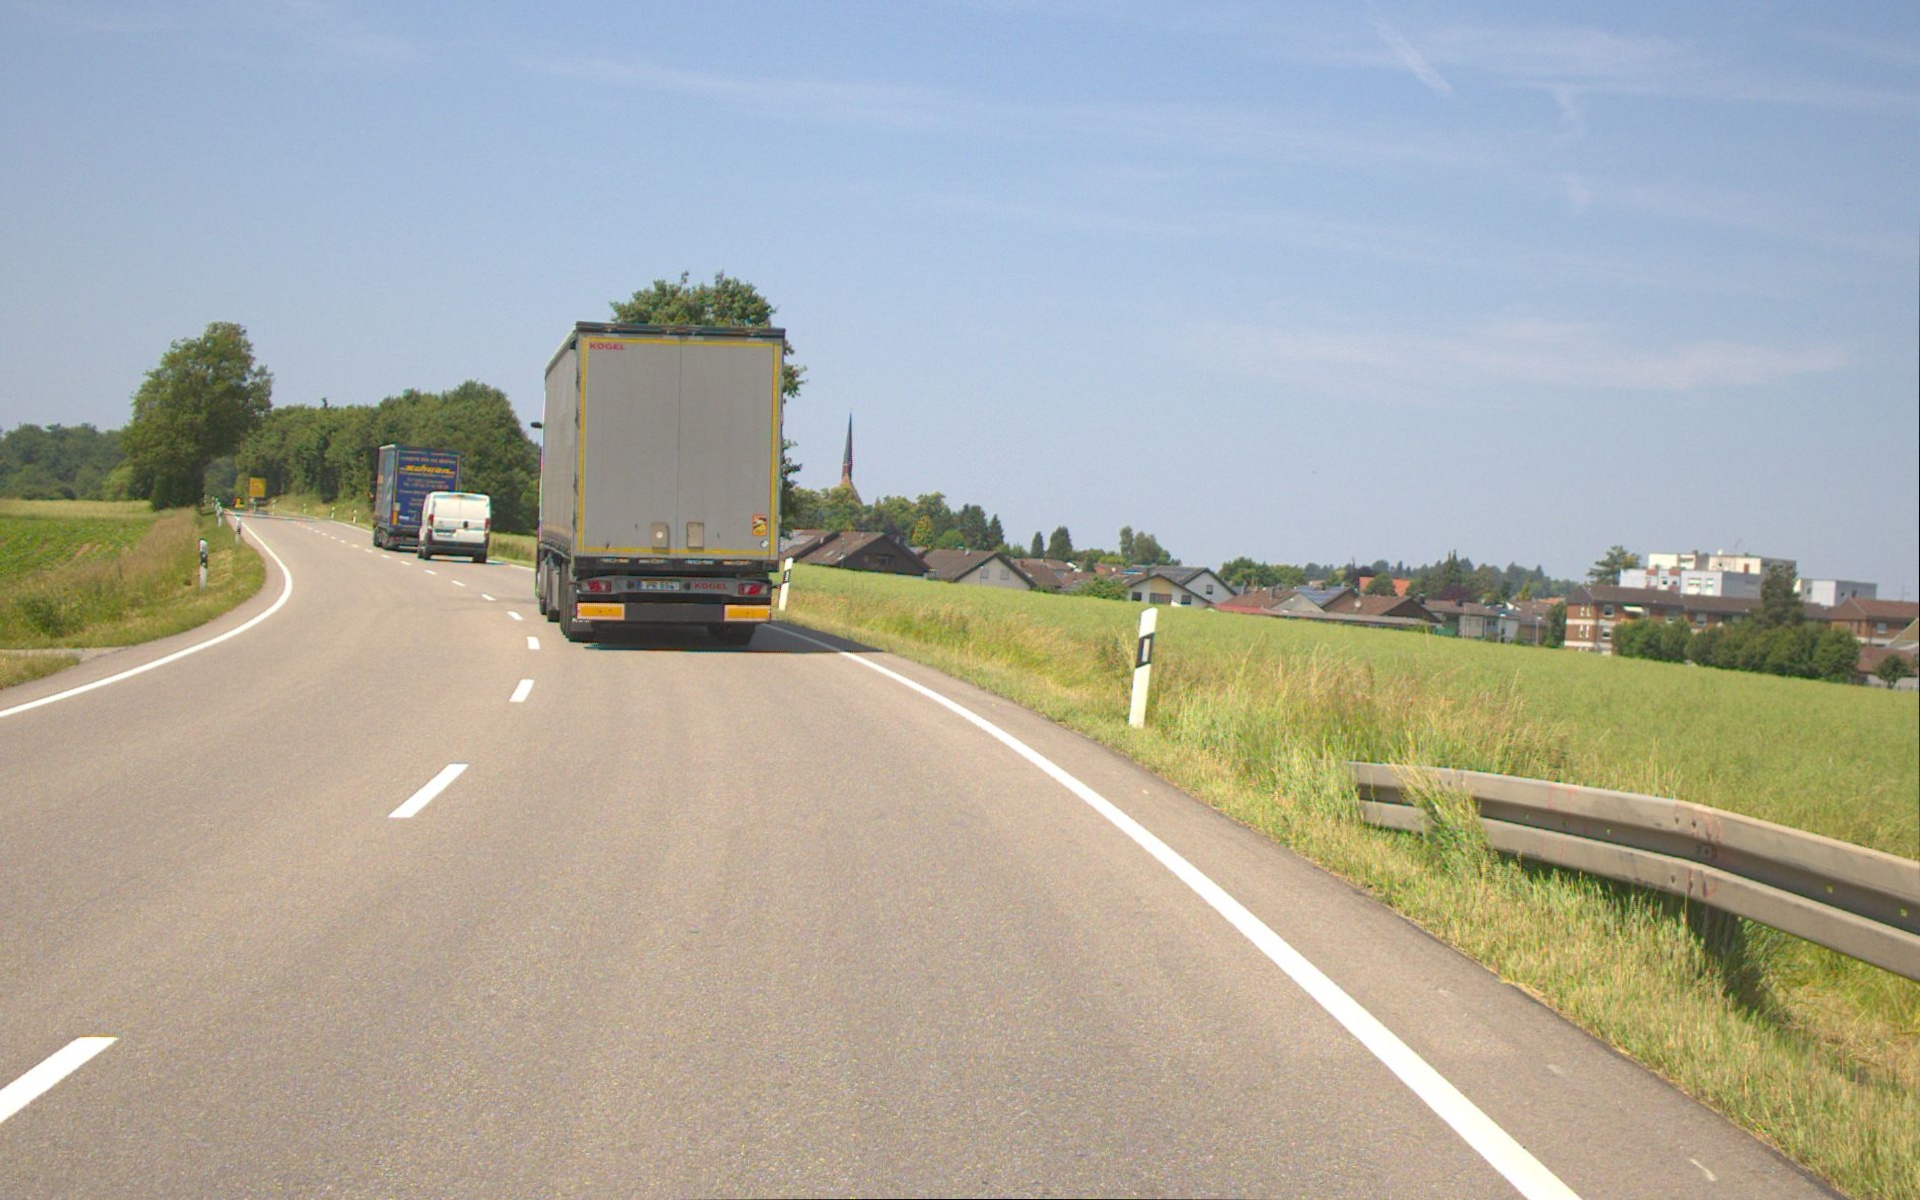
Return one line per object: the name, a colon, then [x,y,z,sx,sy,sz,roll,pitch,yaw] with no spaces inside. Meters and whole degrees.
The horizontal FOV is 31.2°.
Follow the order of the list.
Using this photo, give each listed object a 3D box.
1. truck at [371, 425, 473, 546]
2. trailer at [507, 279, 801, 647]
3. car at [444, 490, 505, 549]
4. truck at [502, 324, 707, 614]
truck: [-21.324,-4.497,137.132,3.548,4.377,18.126,2,1,-8]
trailer: [-4.572,-1.849,48.212,2.866,4.385,13.497,1,2,-10]
car: [-15.946,-2.637,113.066,1.725,1.866,4.001,2,1,-5]
truck: [-5.772,-2.068,55.155,2.858,4.385,5.073,1,1,-10]
